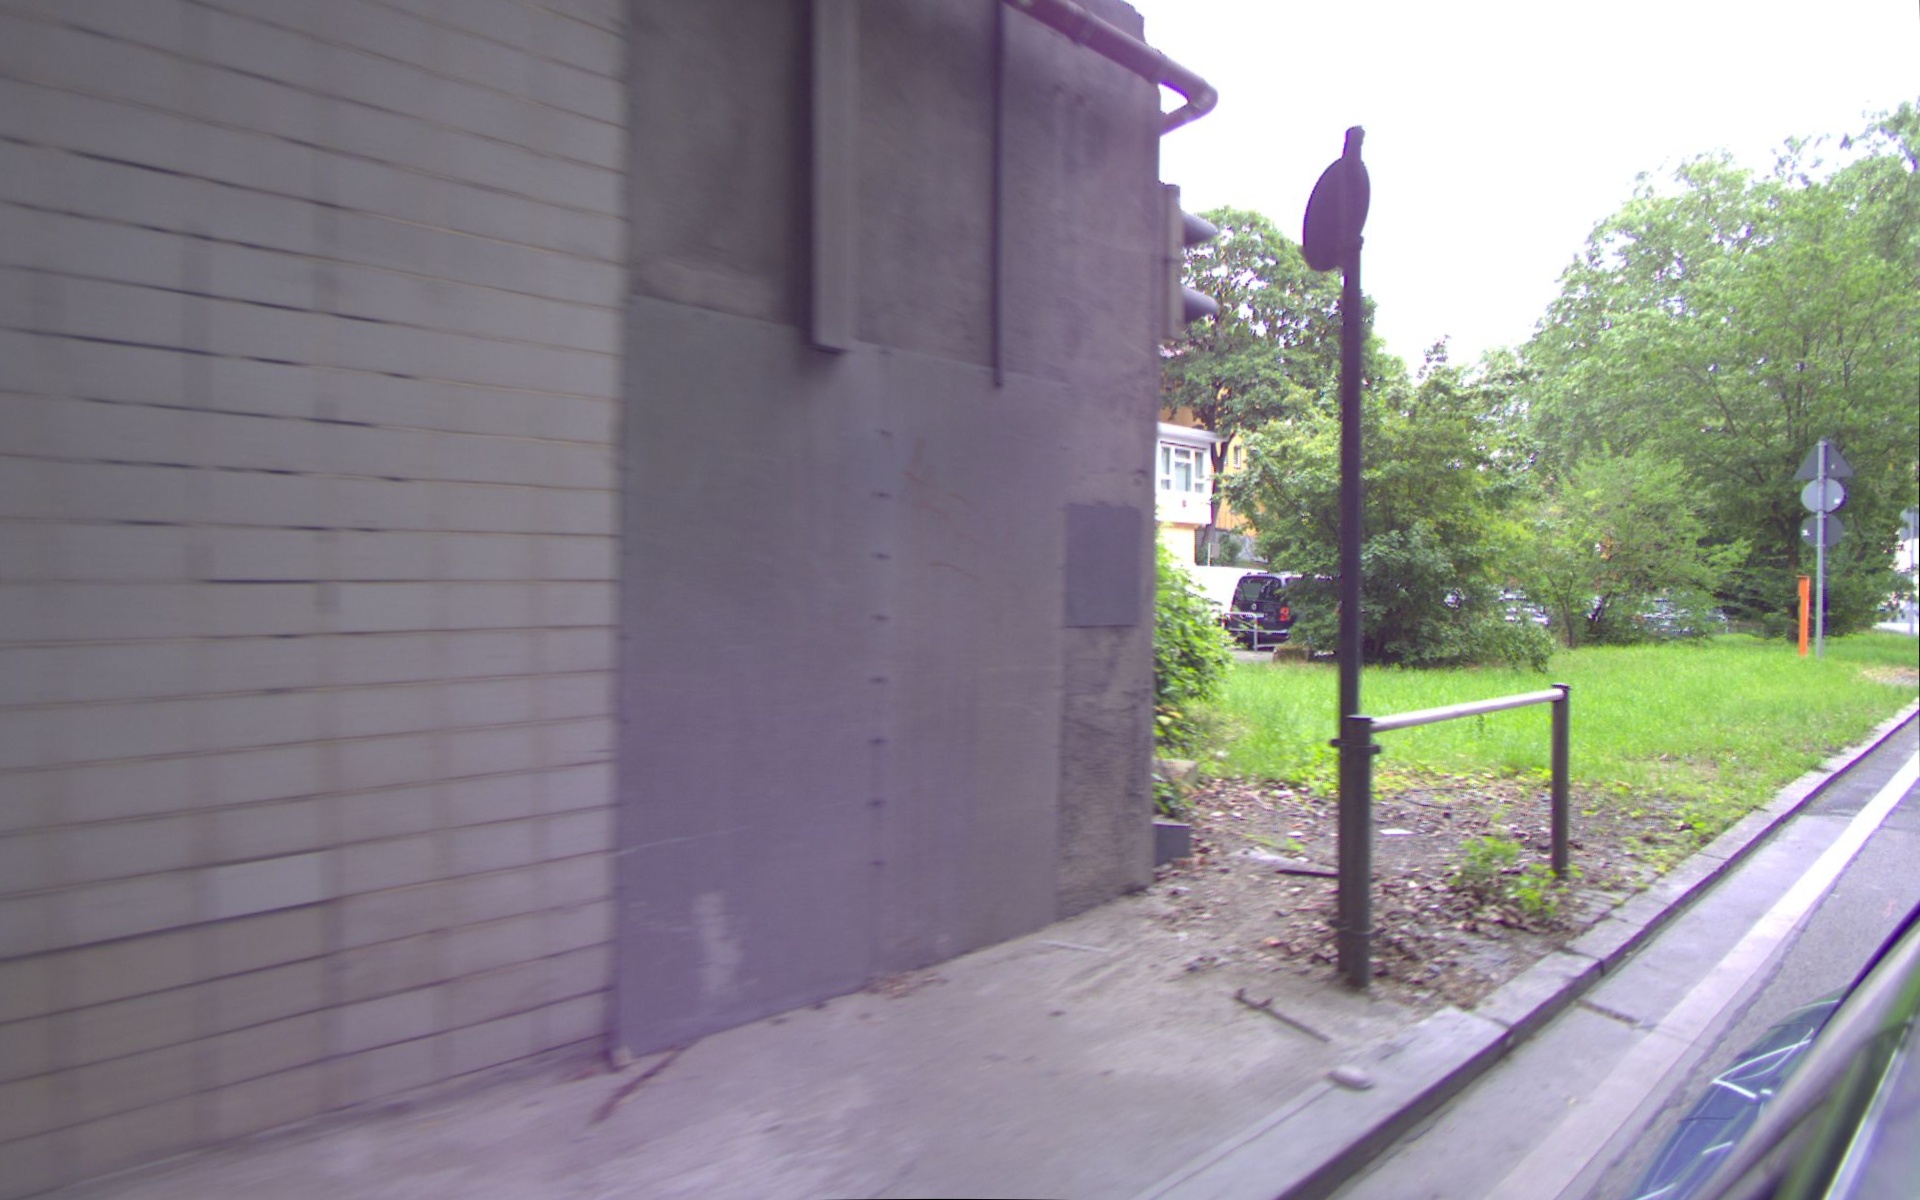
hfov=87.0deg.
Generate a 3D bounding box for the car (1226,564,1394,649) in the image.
[{"bbox_3d":[8.712,0.094,24.953,4.801,1.902,1.859,-1,1,-42],"label":"car"}]

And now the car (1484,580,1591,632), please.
[{"bbox_3d":[17.816,0.127,31.146,3.832,1.460,1.746,-1,3,-42],"label":"car"}]

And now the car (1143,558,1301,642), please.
[{"bbox_3d":[6.999,-0.044,26.793,4.483,2.039,1.860,-1,1,-41],"label":"car"}]

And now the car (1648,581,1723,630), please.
[{"bbox_3d":[29.209,0.166,40.883,1.799,1.685,4.837,3,3,28],"label":"car"}]

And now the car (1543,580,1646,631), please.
[{"bbox_3d":[21.518,0.184,34.247,4.515,1.577,1.788,0,2,-42],"label":"car"}]

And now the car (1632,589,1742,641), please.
[{"bbox_3d":[22.950,0.447,31.857,4.976,1.460,1.788,0,2,-42],"label":"car"}]

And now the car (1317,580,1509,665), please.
[{"bbox_3d":[10.412,0.446,23.134,4.793,1.686,1.815,0,3,-36],"label":"car"}]
